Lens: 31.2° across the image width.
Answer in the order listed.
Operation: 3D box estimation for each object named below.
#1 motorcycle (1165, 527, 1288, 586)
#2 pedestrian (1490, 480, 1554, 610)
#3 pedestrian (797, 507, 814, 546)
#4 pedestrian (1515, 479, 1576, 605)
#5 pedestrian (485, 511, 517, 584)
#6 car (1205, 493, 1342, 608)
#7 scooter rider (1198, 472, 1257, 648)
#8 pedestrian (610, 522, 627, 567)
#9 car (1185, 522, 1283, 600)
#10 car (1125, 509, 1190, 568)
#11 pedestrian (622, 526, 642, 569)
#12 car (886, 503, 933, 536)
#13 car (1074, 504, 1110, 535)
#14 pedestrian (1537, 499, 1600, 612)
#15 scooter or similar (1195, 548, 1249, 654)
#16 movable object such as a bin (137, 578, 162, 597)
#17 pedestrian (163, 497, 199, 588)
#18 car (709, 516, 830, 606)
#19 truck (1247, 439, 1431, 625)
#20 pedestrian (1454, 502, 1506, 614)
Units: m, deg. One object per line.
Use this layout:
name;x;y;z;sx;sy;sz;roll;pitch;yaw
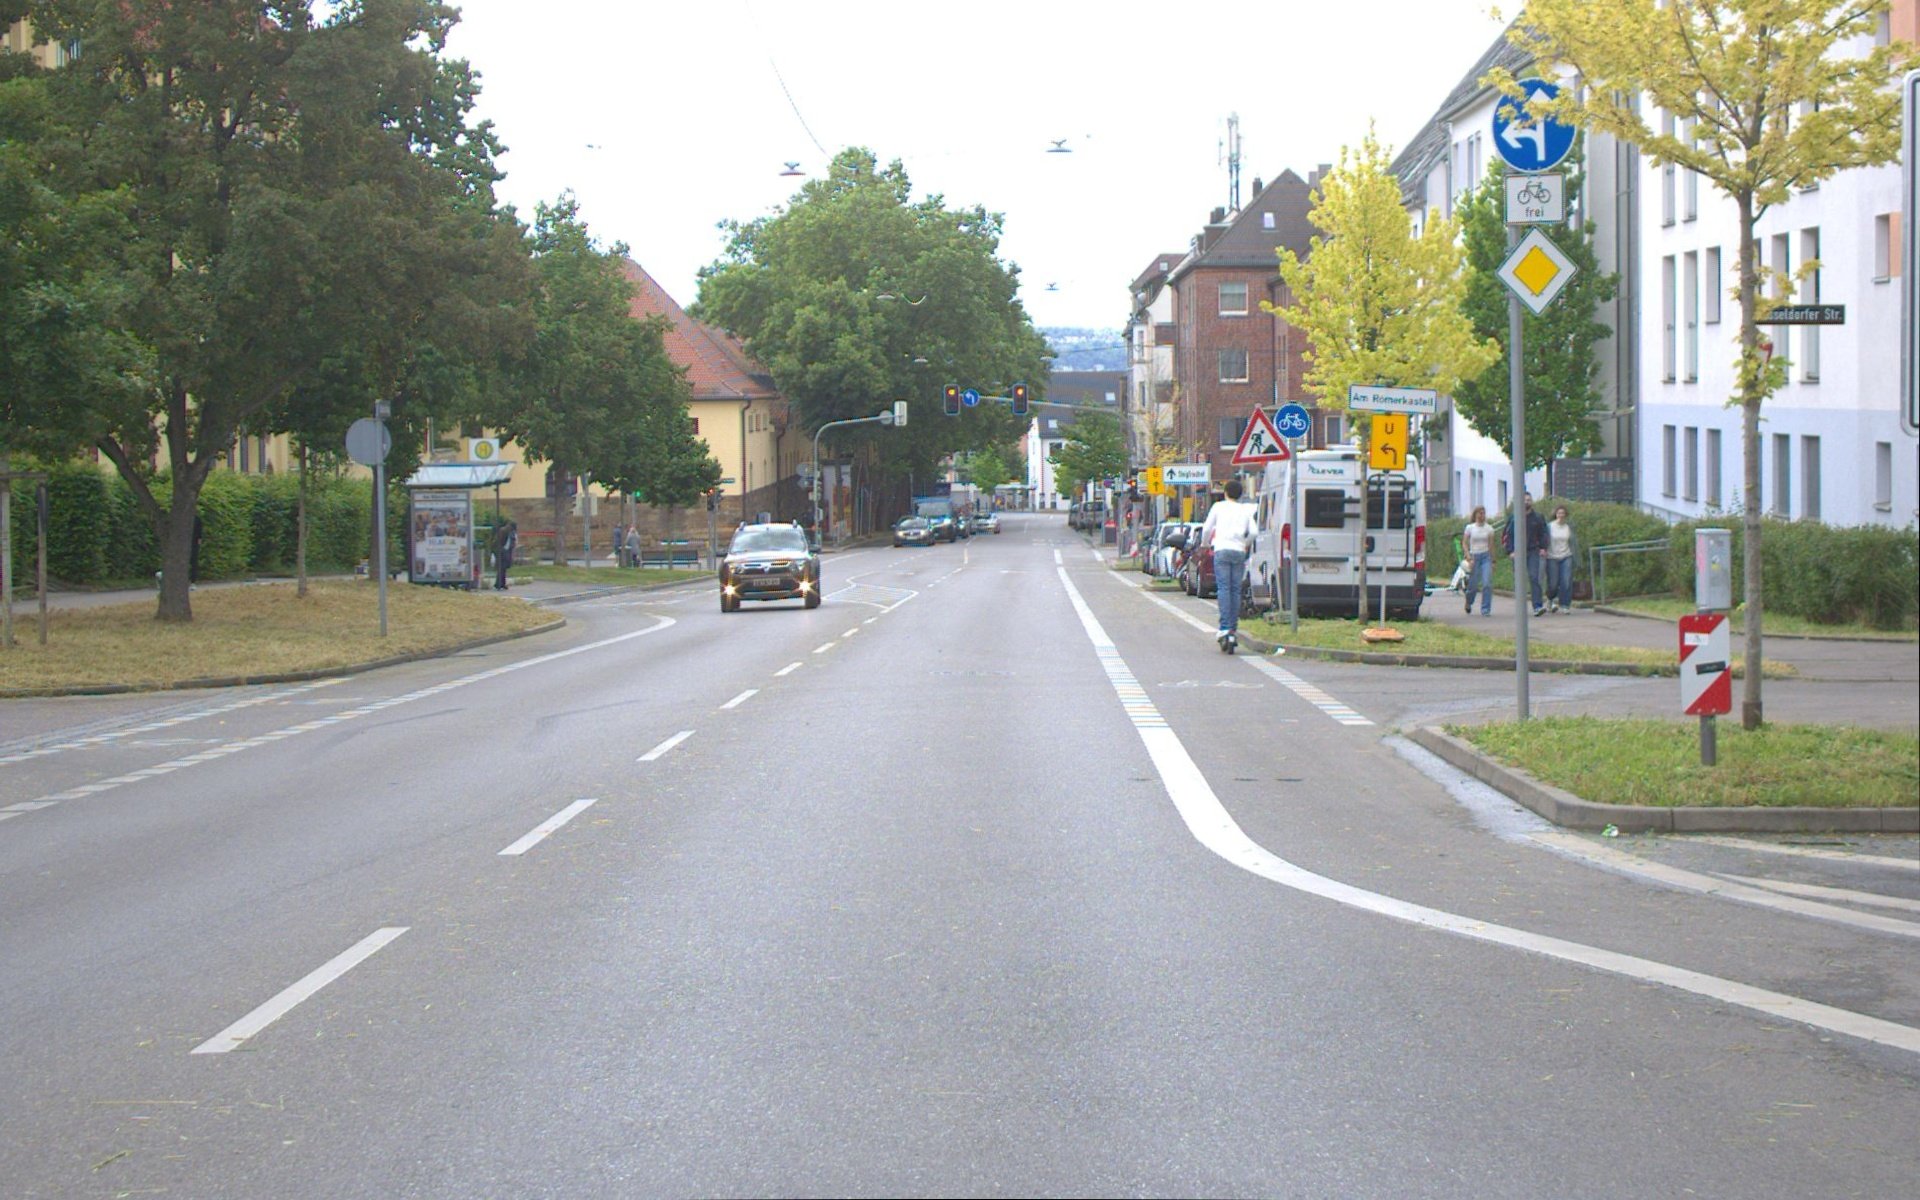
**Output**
motorcycle;5.794;-0.959;74.845;2.597;1.274;0.753;0;2;-2
pedestrian;8.228;-0.796;50.365;0.670;1.880;0.766;-1;0;-11
pedestrian;-6.986;-3.305;155.097;0.674;1.759;0.725;0;1;4
pedestrian;8.810;-0.866;51.743;0.670;1.880;0.620;-1;0;-15
pedestrian;-10.866;-1.249;81.420;0.597;1.721;0.861;1;1;4
car;5.457;-0.903;60.445;1.993;1.937;5.212;0;2;1
scooter rider;3.082;-0.463;39.614;0.625;2.007;0.758;0;1;0
pedestrian;-13.241;-2.154;133.234;0.564;1.771;0.717;0;1;1
car;5.696;-0.831;71.773;1.680;1.539;4.339;0;2;0
car;5.933;-1.879;103.869;1.659;1.710;4.552;1;2;0
pedestrian;-12.143;-1.949;127.305;0.564;1.561;0.842;0;2;7
car;-2.320;-3.728;158.923;1.756;1.467;4.306;-1;2;4
car;8.315;-5.082;217.206;1.993;1.929;4.919;0;2;-1
pedestrian;8.956;-0.659;50.626;0.656;1.599;0.575;-5;2;-8
scooter or similar;3.002;-0.003;39.510;0.490;1.159;2.075;0;2;1
movable object such as a bin;-15.929;-0.249;67.553;0.306;0.346;0.581;0;2;7
pedestrian;-15.249;-1.132;67.282;0.513;1.773;0.753;0;1;1
car;-3.541;-0.767;64.709;1.899;1.614;4.362;0;2;2
truck;5.432;-1.013;49.996;2.052;2.556;5.690;0;2;0
pedestrian;7.759;-0.625;51.269;0.576;1.638;0.562;-1;0;-13
